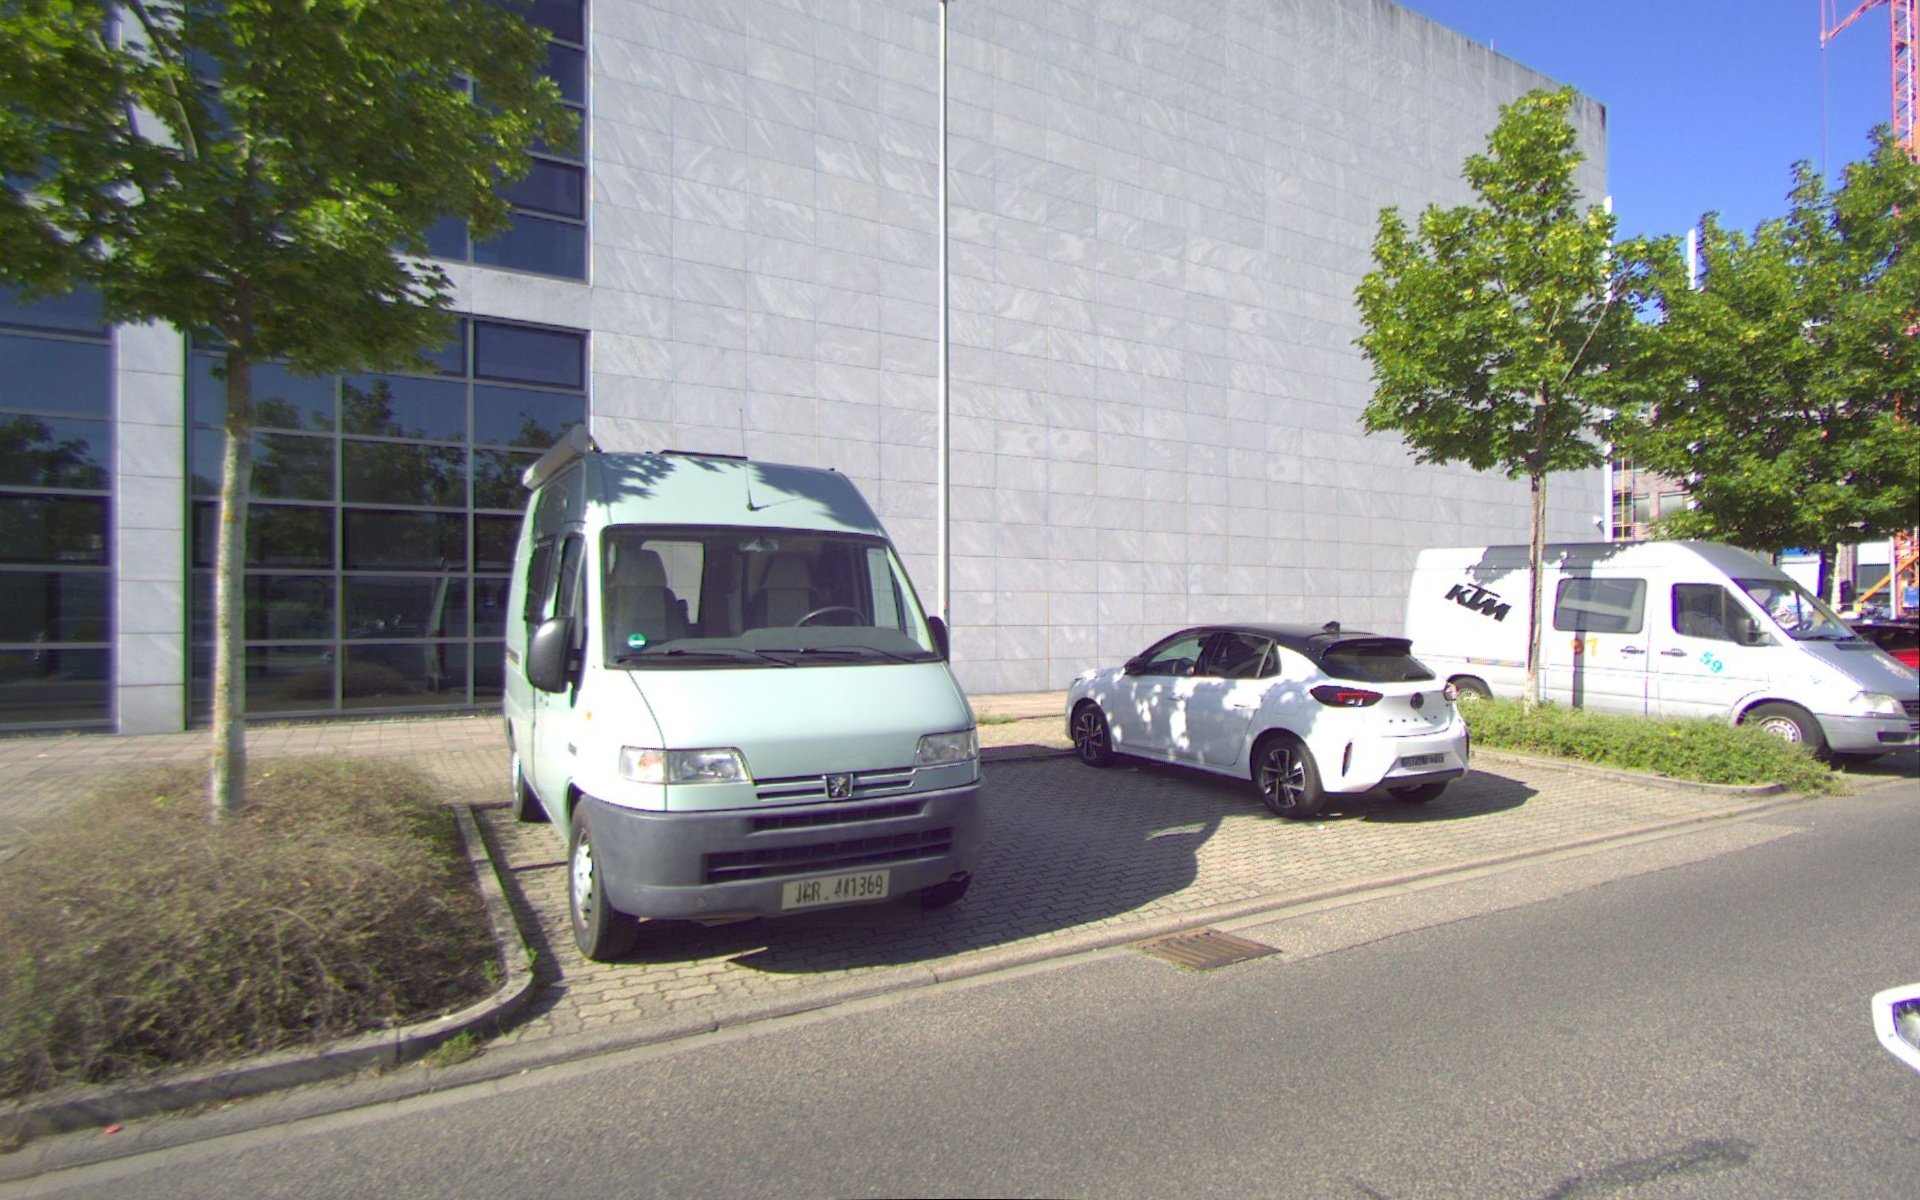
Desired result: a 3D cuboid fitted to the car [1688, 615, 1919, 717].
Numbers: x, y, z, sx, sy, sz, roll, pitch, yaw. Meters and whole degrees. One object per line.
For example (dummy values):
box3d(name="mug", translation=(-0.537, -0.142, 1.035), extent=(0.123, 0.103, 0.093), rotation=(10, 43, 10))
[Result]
box3d(name="car", translation=(14.712, 1.034, 16.587), extent=(1.833, 1.537, 3.970), rotation=(1, -2, -29))

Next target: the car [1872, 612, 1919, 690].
box3d(name="car", translation=(20.768, 1.049, 19.579), extent=(1.849, 1.512, 4.106), rotation=(-1, 1, -33))

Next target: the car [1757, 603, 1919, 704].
box3d(name="car", translation=(16.775, 0.915, 17.643), extent=(1.804, 1.686, 3.972), rotation=(0, 0, -27))

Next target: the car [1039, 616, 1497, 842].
box3d(name="car", translation=(2.537, 0.940, 9.181), extent=(1.826, 1.492, 3.812), rotation=(0, 1, -29))

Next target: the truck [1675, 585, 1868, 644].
box3d(name="truck", translation=(38.518, 0.720, 47.973), extent=(2.251, 2.581, 6.831), rotation=(-1, -1, -28))

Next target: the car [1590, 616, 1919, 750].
box3d(name="car", translation=(11.123, 1.000, 13.735), extent=(1.763, 1.505, 3.917), rotation=(0, 0, -28))

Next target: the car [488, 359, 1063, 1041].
box3d(name="car", translation=(-1.696, 0.329, 6.421), extent=(2.097, 2.451, 5.225), rotation=(0, 1, -29))

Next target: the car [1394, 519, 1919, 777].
box3d(name="car", translation=(8.378, 0.436, 12.432), extent=(1.963, 2.442, 5.529), rotation=(0, 0, -28))
